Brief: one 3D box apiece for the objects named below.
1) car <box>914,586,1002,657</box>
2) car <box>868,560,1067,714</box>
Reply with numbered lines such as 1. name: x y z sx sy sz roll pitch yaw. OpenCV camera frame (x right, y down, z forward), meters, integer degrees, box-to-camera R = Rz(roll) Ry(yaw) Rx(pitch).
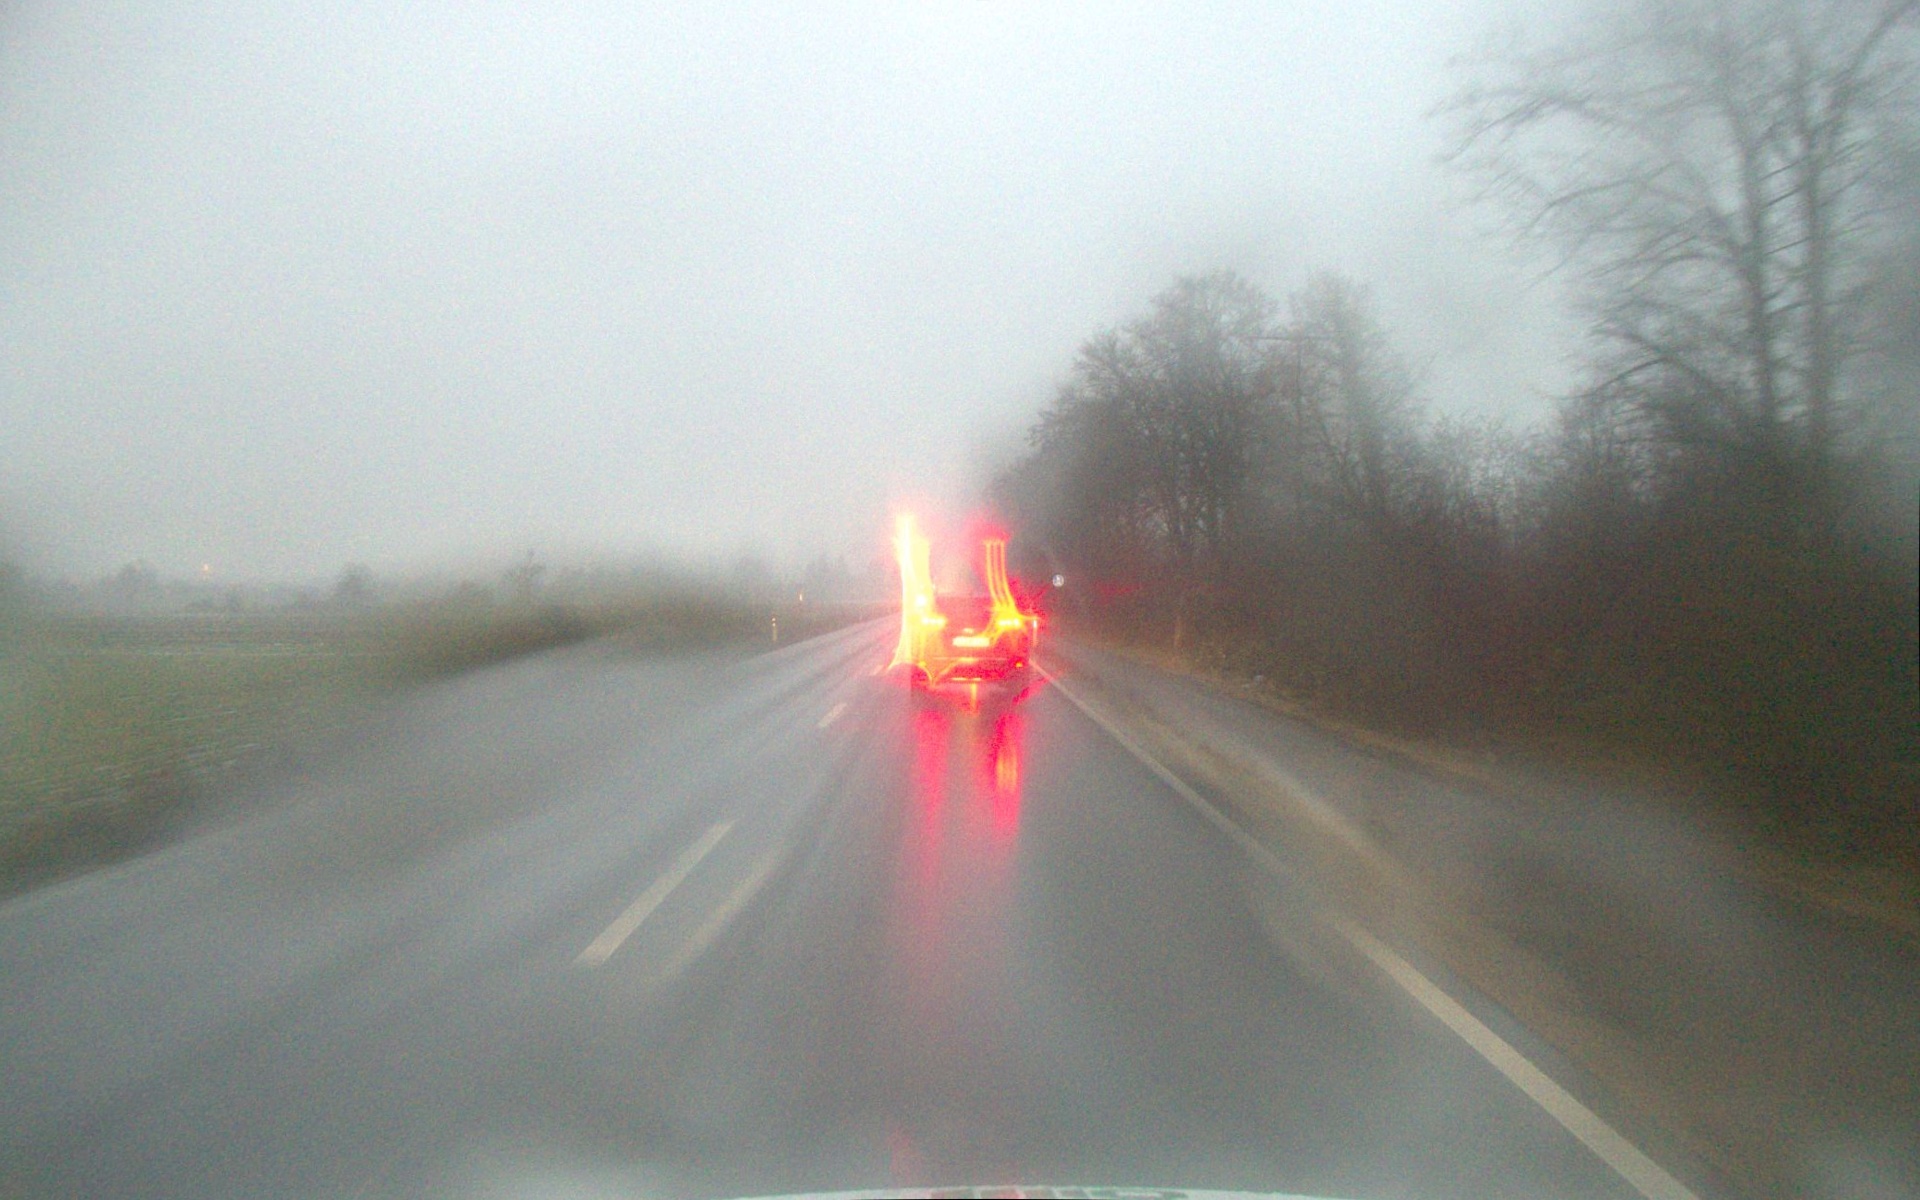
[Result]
1. car: -0.040 0.636 51.274 2.539 2.049 5.804 1 0 0
2. car: 0.120 0.531 26.279 2.762 2.113 5.804 1 0 0
